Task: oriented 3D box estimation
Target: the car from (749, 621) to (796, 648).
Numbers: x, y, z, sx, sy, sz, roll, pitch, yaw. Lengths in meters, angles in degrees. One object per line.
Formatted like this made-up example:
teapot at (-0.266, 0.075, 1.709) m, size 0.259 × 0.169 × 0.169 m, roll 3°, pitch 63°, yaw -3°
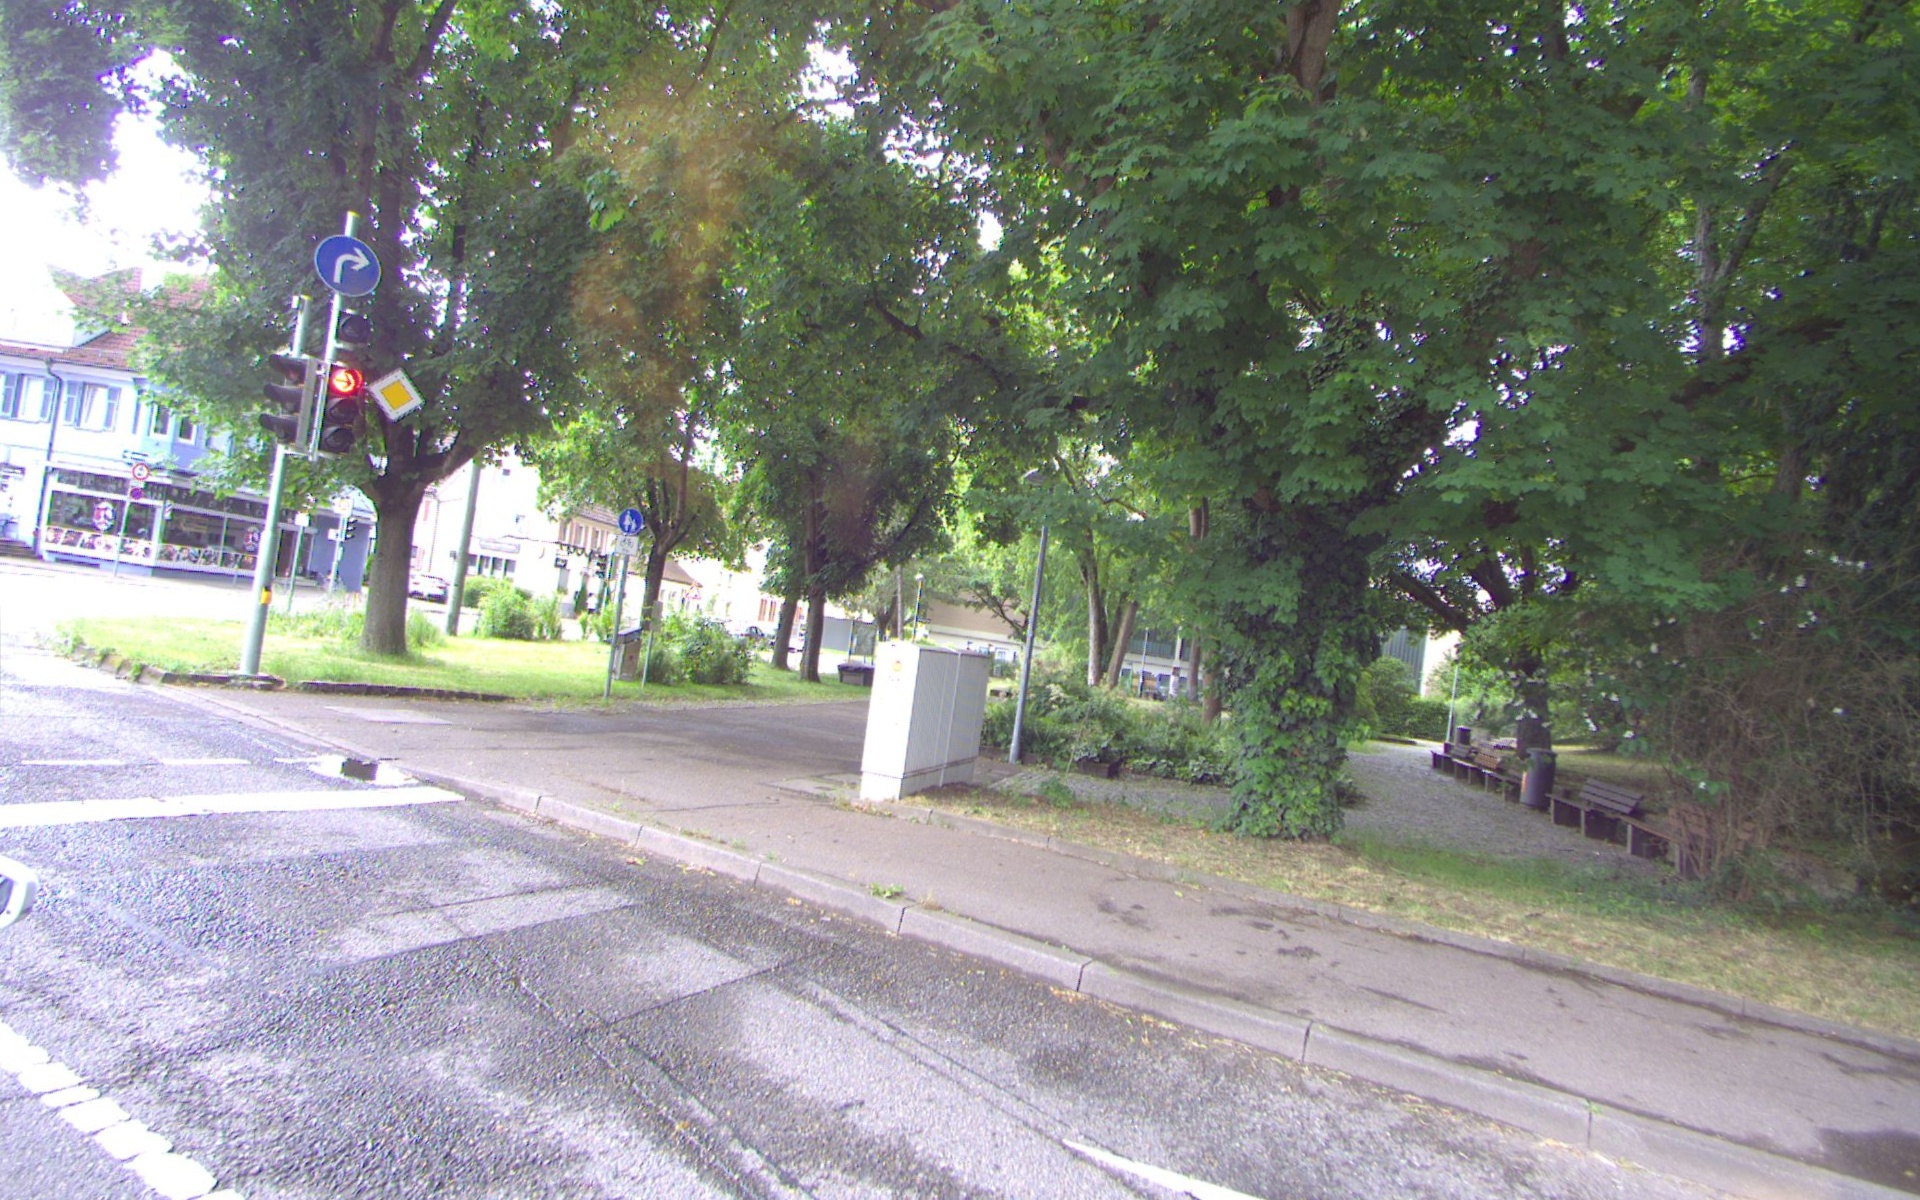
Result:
car at (-11.165, 2.071, 60.110) m, size 1.530 × 1.336 × 3.514 m, roll 7°, pitch -2°, yaw 8°

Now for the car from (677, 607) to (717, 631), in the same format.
car at (-19.368, 1.444, 74.253) m, size 1.528 × 1.436 × 4.005 m, roll 7°, pitch -2°, yaw 4°

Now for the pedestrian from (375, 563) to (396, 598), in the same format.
pedestrian at (-26.963, -0.907, 47.231) m, size 0.577 × 1.535 × 0.459 m, roll 7°, pitch -1°, yaw -8°

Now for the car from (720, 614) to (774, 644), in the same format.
car at (-11.567, 1.597, 54.825) m, size 1.530 × 1.336 × 3.514 m, roll 7°, pitch -2°, yaw 9°

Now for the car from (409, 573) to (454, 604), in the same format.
car at (-27.869, -0.603, 53.149) m, size 1.479 × 1.384 × 3.166 m, roll 8°, pitch -2°, yaw -19°

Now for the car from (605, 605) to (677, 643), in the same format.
car at (-14.009, 1.090, 44.361) m, size 1.530 × 1.336 × 3.514 m, roll 7°, pitch -2°, yaw 9°

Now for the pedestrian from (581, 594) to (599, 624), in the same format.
pedestrian at (-21.677, 0.534, 58.976) m, size 0.600 × 1.668 × 0.610 m, roll 7°, pitch -1°, yaw 3°

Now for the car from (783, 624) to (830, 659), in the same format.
car at (-10.054, 2.759, 66.178) m, size 1.750 × 2.037 × 4.005 m, roll 7°, pitch -2°, yaw 7°
